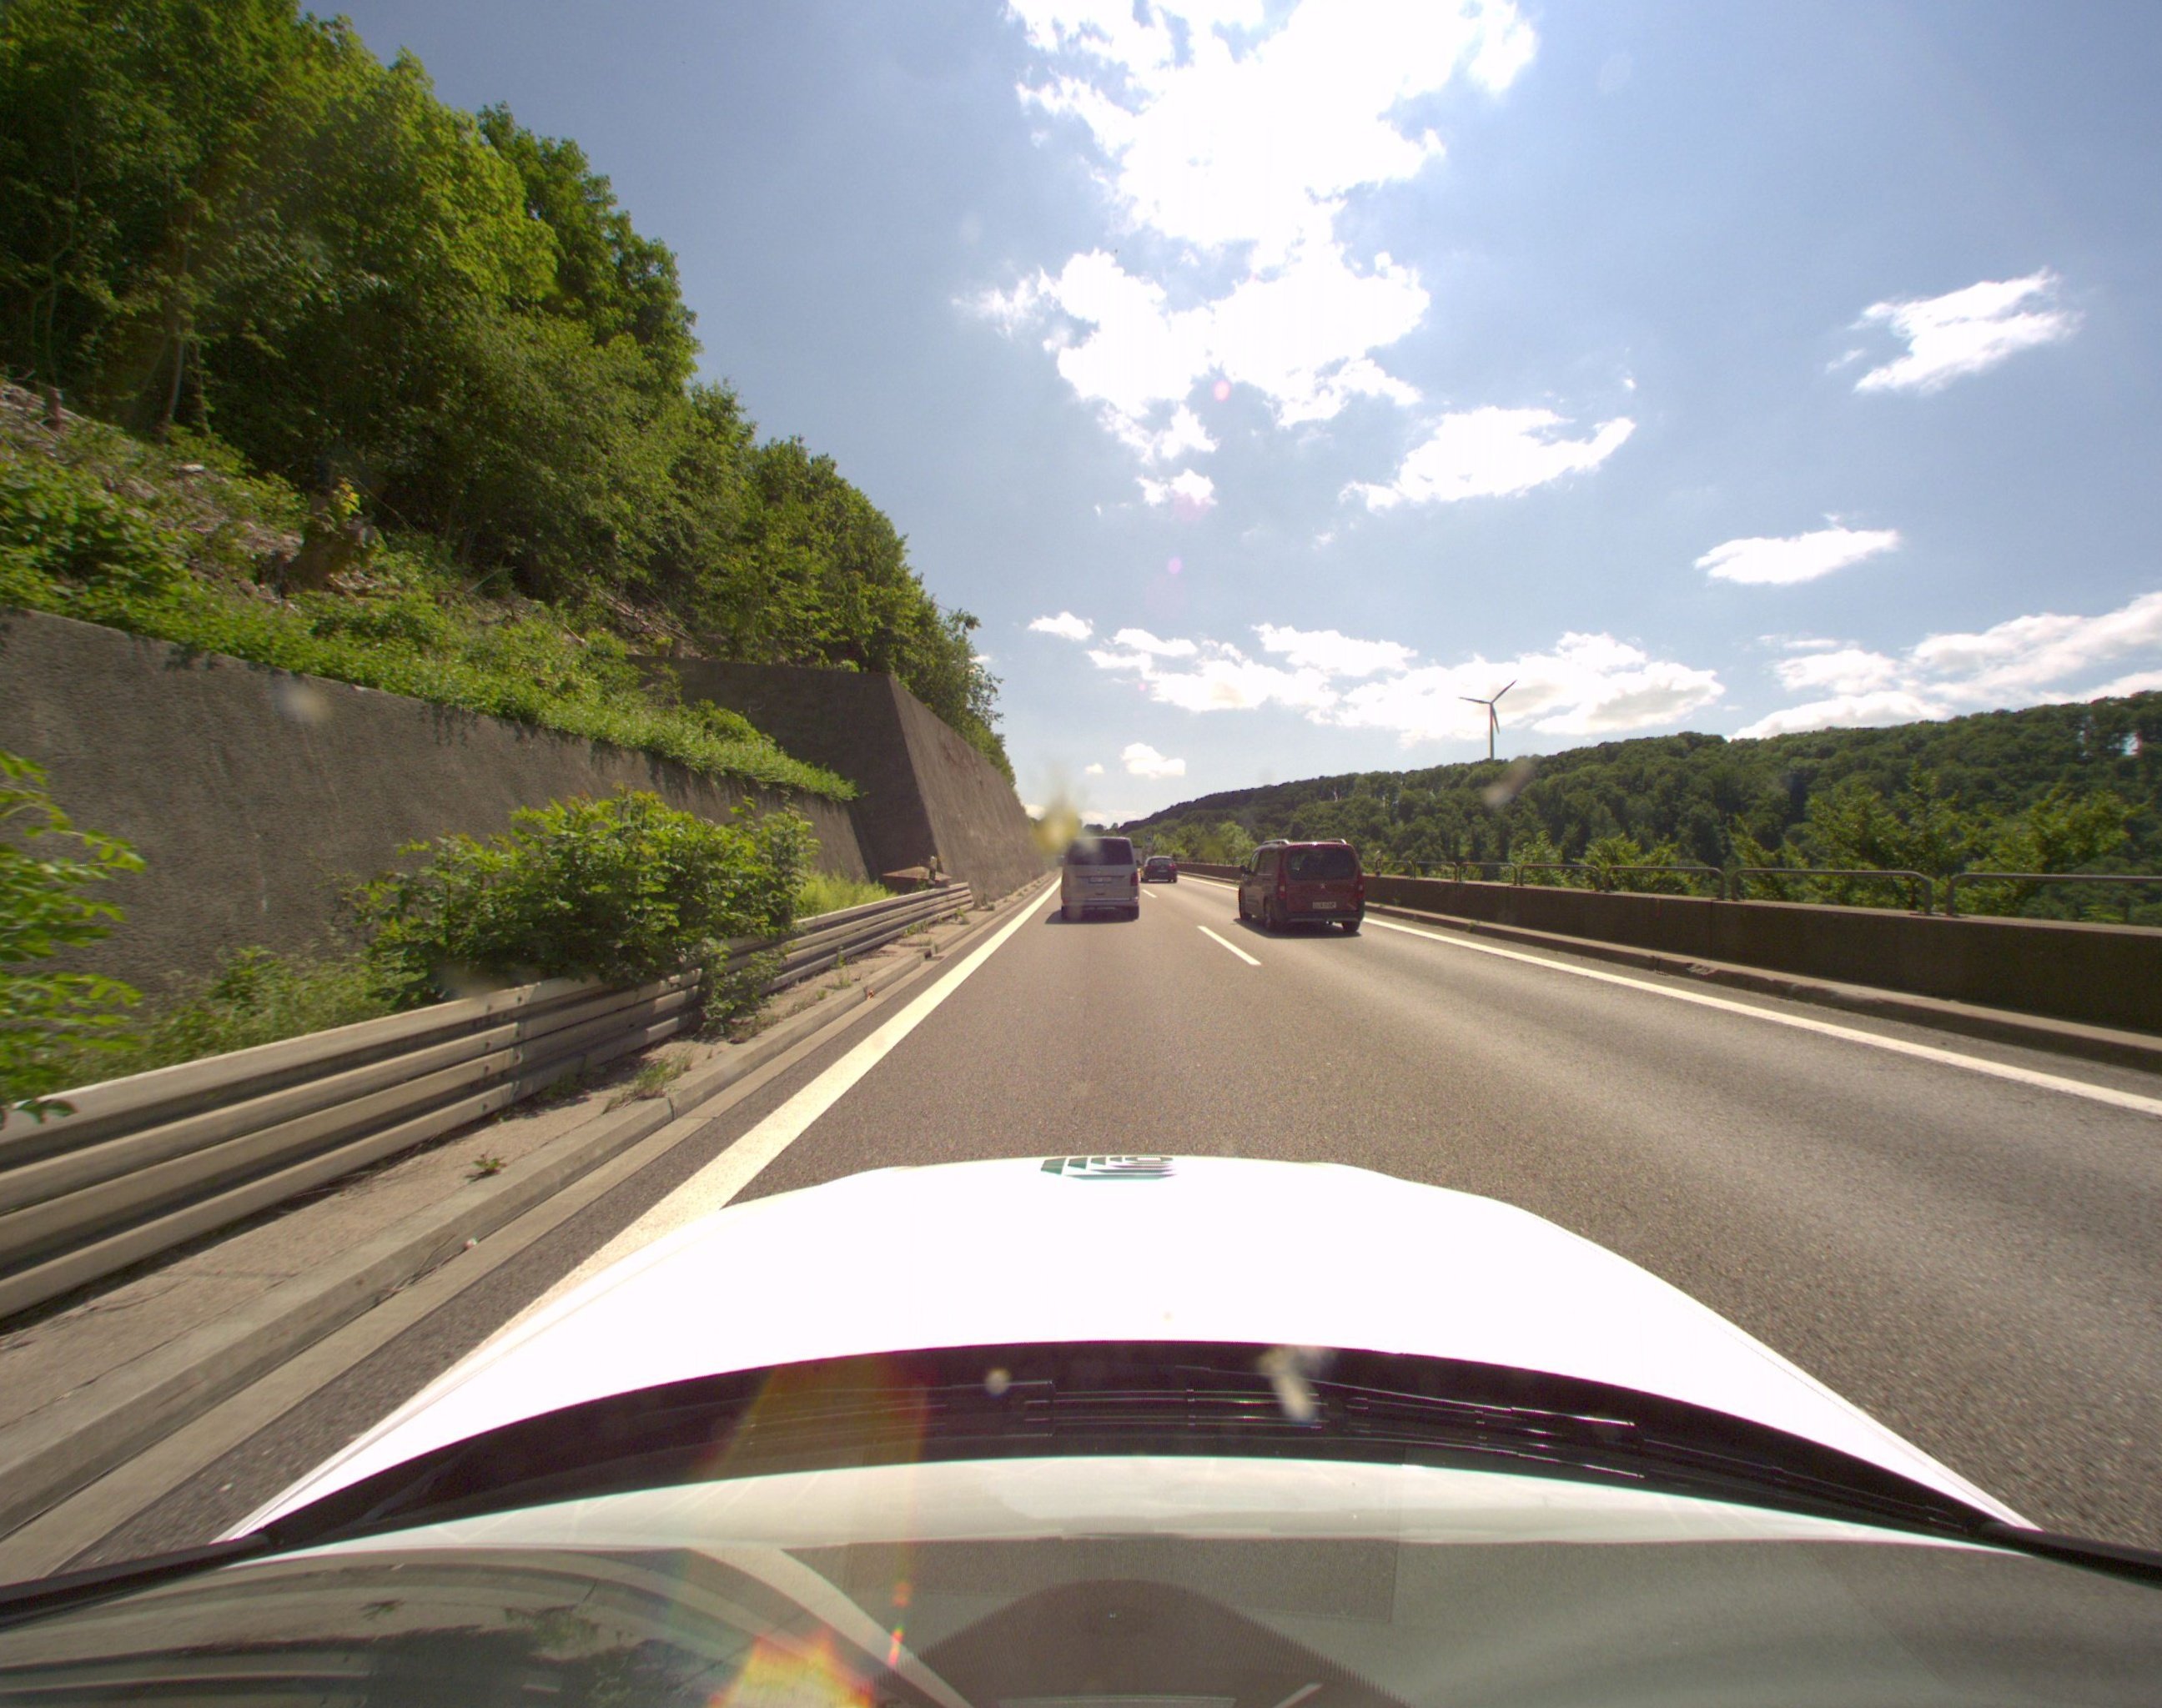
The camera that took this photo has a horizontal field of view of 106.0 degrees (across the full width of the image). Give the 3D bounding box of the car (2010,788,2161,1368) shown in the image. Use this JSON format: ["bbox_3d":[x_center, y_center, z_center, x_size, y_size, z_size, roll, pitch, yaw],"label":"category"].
[{"bbox_3d":[3.937,0.642,0.348,1.828,1.633,4.663,1,0,1],"label":"car"}]

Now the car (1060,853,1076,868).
[{"bbox_3d":[-1.678,0.855,105.678,1.987,1.915,3.999,-1,0,-1],"label":"car"}]

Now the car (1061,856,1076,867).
[{"bbox_3d":[-1.919,1.158,125.827,2.138,1.607,5.072,-1,0,-3],"label":"car"}]

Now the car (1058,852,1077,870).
[{"bbox_3d":[-1.464,0.697,86.877,1.988,1.817,3.997,-1,0,-2],"label":"car"}]

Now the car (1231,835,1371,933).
[{"bbox_3d":[4.550,0.592,17.592,1.827,1.784,4.677,-2,-1,1],"label":"car"}]

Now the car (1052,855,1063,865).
[{"bbox_3d":[-4.732,1.233,166.674,1.987,2.014,4.000,-2,-1,1],"label":"car"}]

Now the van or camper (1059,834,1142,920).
[{"bbox_3d":[0.499,0.542,20.712,1.869,1.949,4.295,0,0,1],"label":"van or camper"}]

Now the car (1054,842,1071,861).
[{"bbox_3d":[-4.813,-0.662,210.358,4.035,4.871,10.095,-1,0,-4],"label":"car"}]

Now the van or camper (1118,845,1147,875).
[{"bbox_3d":[4.636,0.529,74.230,2.257,2.551,4.735,-2,0,0],"label":"van or camper"}]

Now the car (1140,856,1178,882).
[{"bbox_3d":[4.271,0.808,45.064,1.762,1.375,3.593,-1,0,1],"label":"car"}]
